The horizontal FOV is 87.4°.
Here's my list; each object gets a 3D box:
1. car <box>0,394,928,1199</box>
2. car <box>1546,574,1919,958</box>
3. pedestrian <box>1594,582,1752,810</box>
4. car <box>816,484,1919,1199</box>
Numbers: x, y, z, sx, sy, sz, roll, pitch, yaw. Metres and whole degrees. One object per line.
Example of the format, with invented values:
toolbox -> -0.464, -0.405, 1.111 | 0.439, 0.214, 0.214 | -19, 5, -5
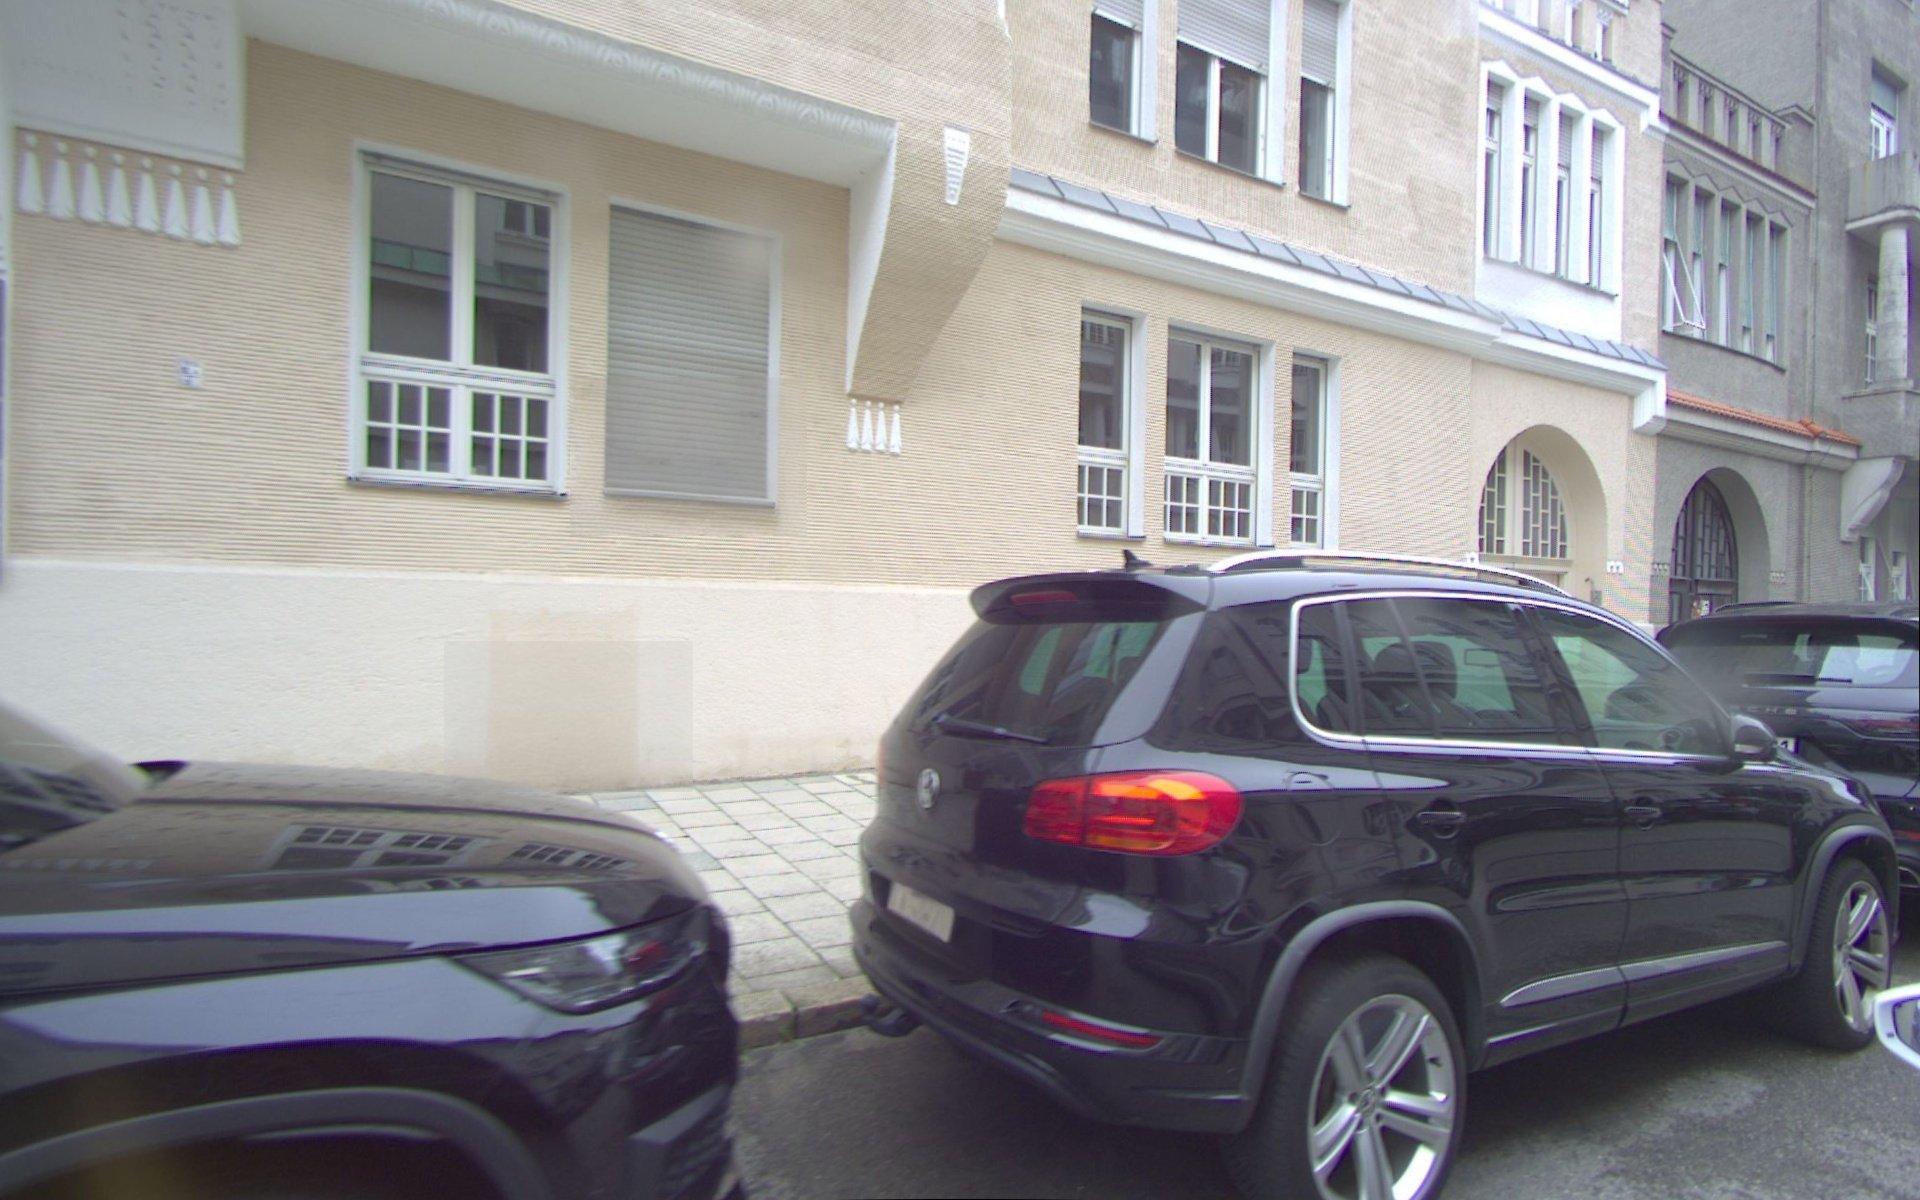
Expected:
car -> -2.431, 0.568, 1.395 | 4.408, 1.670, 1.863 | 2, 0, -30
car -> 5.938, 0.786, 6.095 | 4.558, 1.681, 1.944 | 2, 0, -27
pedestrian -> 6.037, 0.770, 8.520 | 0.732, 1.813, 0.831 | 2, 0, -30
car -> 1.702, 0.662, 3.675 | 4.054, 1.664, 1.723 | 2, 0, -30
